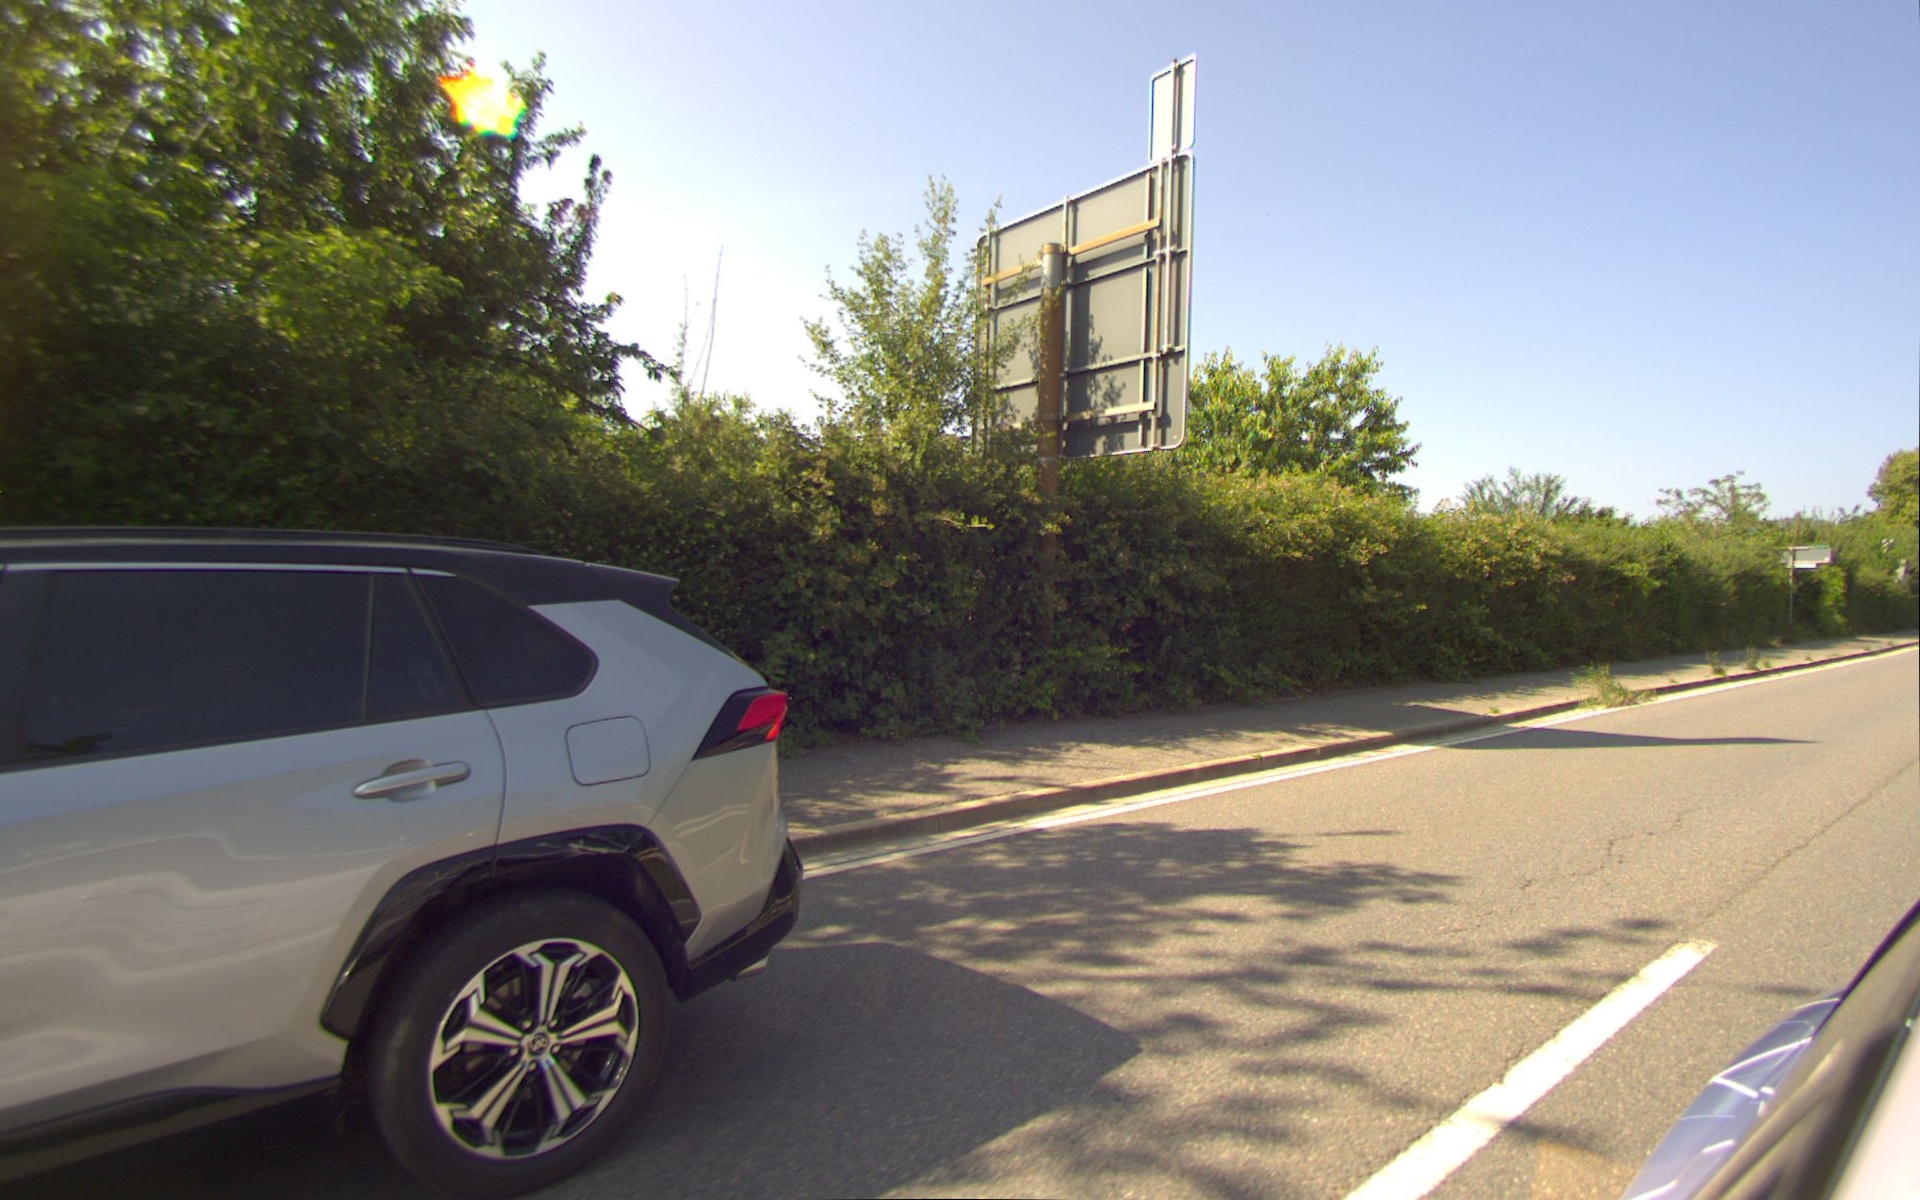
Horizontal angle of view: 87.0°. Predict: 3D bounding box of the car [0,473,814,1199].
[{"bbox_3d":[-2.801,0.614,2.311,4.600,1.701,1.905,0,-1,-40],"label":"car"}]
